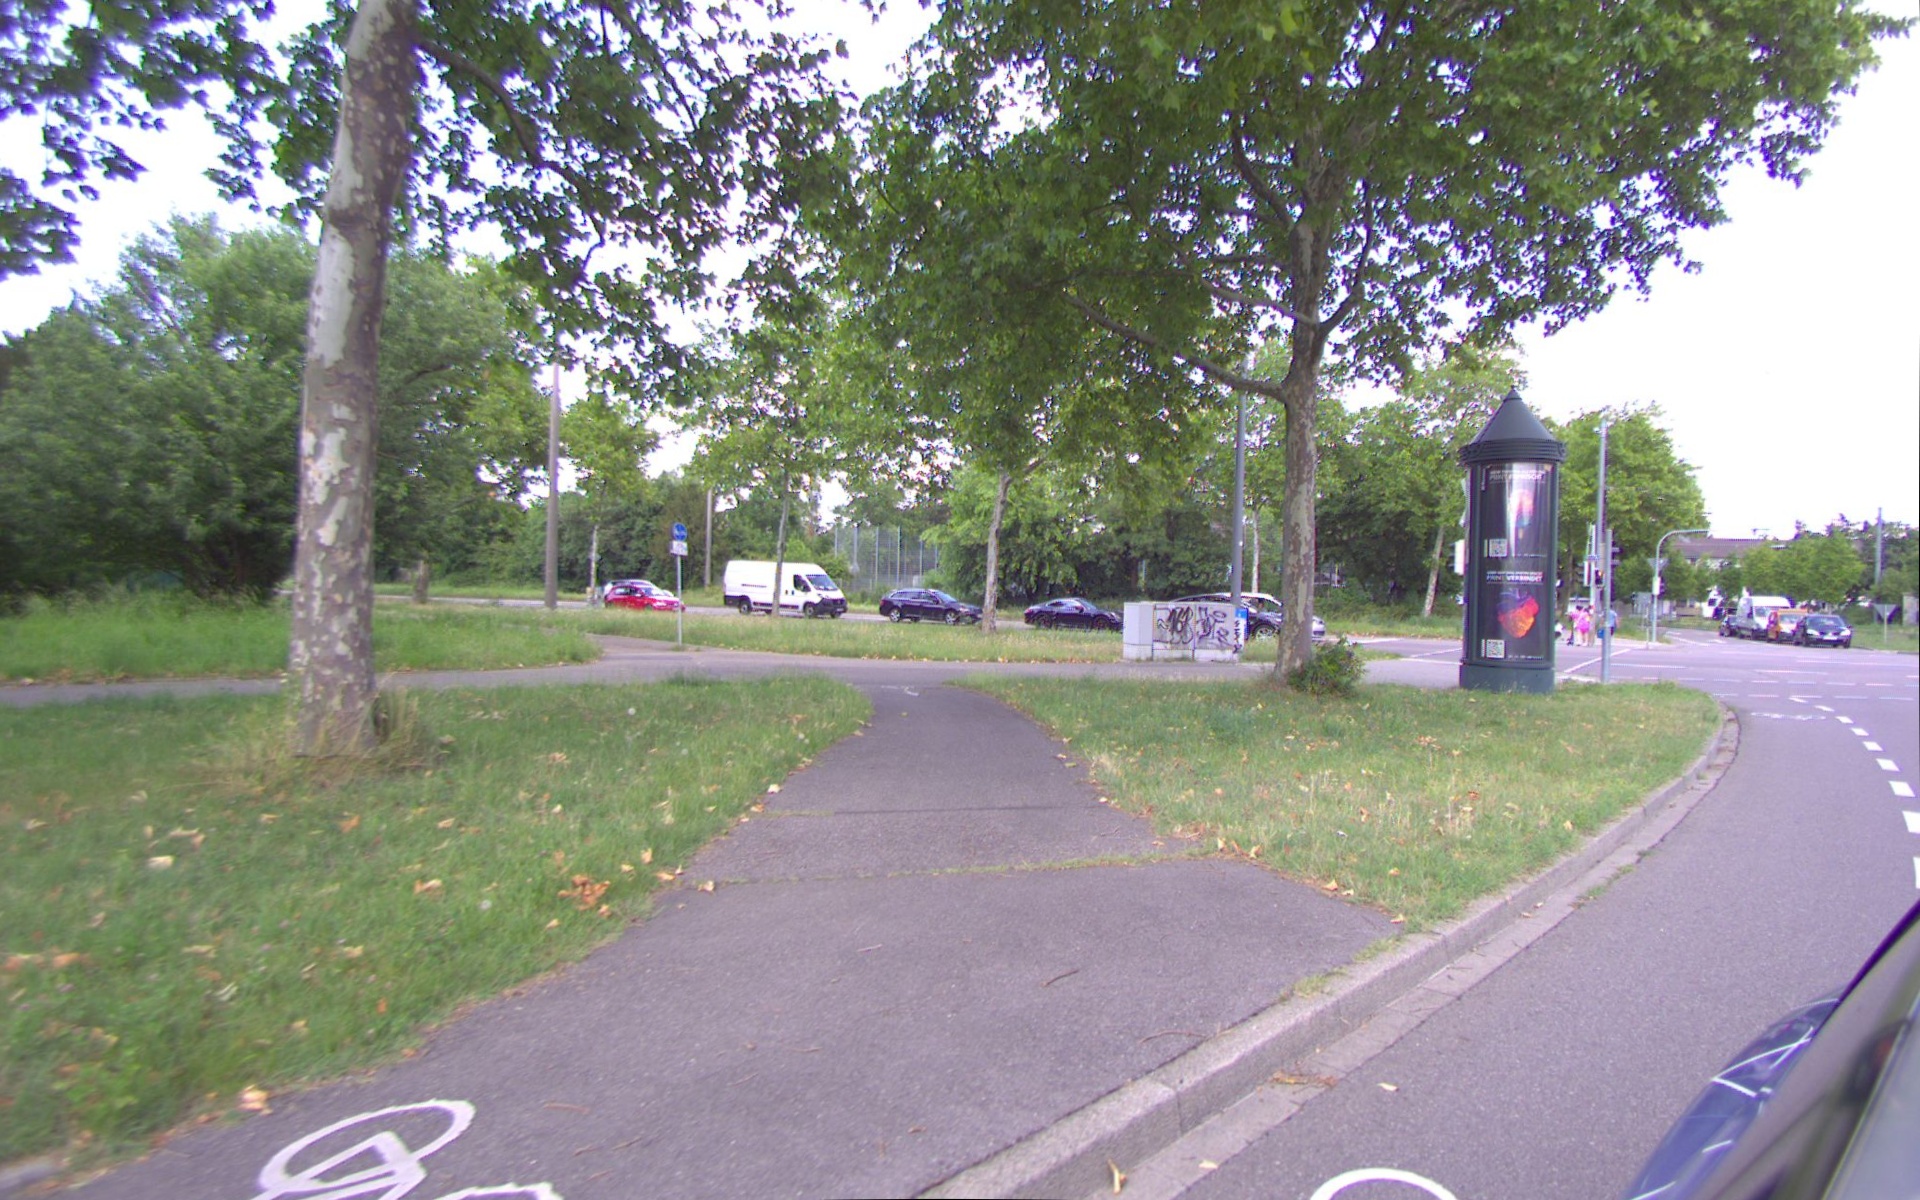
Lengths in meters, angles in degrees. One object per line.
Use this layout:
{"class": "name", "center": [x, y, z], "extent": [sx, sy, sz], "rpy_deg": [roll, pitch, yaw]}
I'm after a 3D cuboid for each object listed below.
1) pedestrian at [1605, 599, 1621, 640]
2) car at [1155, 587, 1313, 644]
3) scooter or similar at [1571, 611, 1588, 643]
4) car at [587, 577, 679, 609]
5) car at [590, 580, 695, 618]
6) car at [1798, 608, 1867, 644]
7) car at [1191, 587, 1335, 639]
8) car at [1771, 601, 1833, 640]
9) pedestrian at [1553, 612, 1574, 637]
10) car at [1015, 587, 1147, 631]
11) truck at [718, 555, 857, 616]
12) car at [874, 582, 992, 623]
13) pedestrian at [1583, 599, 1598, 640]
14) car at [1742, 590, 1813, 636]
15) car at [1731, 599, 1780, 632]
{"class": "pedestrian", "center": [24.300, 0.717, 37.642], "extent": [0.415, 1.527, 0.447], "rpy_deg": [2, 0, 28]}
{"class": "car", "center": [8.953, 0.456, 33.114], "extent": [4.647, 1.630, 1.979], "rpy_deg": [2, 2, 30]}
{"class": "scooter or similar", "center": [23.403, 1.005, 38.255], "extent": [0.391, 1.175, 1.107], "rpy_deg": [2, 1, 25]}
{"class": "car", "center": [-17.244, -0.417, 53.274], "extent": [4.645, 1.532, 1.980], "rpy_deg": [2, 2, 29]}
{"class": "car", "center": [-14.582, -0.081, 46.409], "extent": [4.645, 1.532, 1.980], "rpy_deg": [2, 2, 29]}
{"class": "car", "center": [42.128, 1.218, 48.927], "extent": [1.781, 1.558, 3.957], "rpy_deg": [1, 0, 30]}
{"class": "car", "center": [10.830, 0.404, 36.245], "extent": [4.645, 1.630, 1.980], "rpy_deg": [2, 2, 29]}
{"class": "car", "center": [45.041, 1.035, 54.220], "extent": [1.781, 1.960, 4.323], "rpy_deg": [1, 0, 29]}
{"class": "pedestrian", "center": [26.697, 1.088, 44.765], "extent": [0.716, 1.047, 0.892], "rpy_deg": [2, 0, 29]}
{"class": "car", "center": [4.694, 0.306, 39.326], "extent": [4.707, 1.487, 1.980], "rpy_deg": [2, 2, 29]}
{"class": "truck", "center": [-8.093, -0.694, 47.247], "extent": [6.454, 2.628, 2.193], "rpy_deg": [2, 1, 30]}
{"class": "car", "center": [-1.171, 0.060, 42.947], "extent": [4.645, 1.532, 1.980], "rpy_deg": [2, 2, 29]}
{"class": "pedestrian", "center": [23.852, 0.721, 38.271], "extent": [0.415, 1.527, 0.389], "rpy_deg": [2, 0, 28]}
{"class": "car", "center": [48.259, 0.741, 59.844], "extent": [2.220, 2.538, 5.668], "rpy_deg": [1, 0, 28]}
{"class": "car", "center": [50.923, 0.960, 64.856], "extent": [1.780, 1.960, 4.324], "rpy_deg": [1, 0, 29]}
